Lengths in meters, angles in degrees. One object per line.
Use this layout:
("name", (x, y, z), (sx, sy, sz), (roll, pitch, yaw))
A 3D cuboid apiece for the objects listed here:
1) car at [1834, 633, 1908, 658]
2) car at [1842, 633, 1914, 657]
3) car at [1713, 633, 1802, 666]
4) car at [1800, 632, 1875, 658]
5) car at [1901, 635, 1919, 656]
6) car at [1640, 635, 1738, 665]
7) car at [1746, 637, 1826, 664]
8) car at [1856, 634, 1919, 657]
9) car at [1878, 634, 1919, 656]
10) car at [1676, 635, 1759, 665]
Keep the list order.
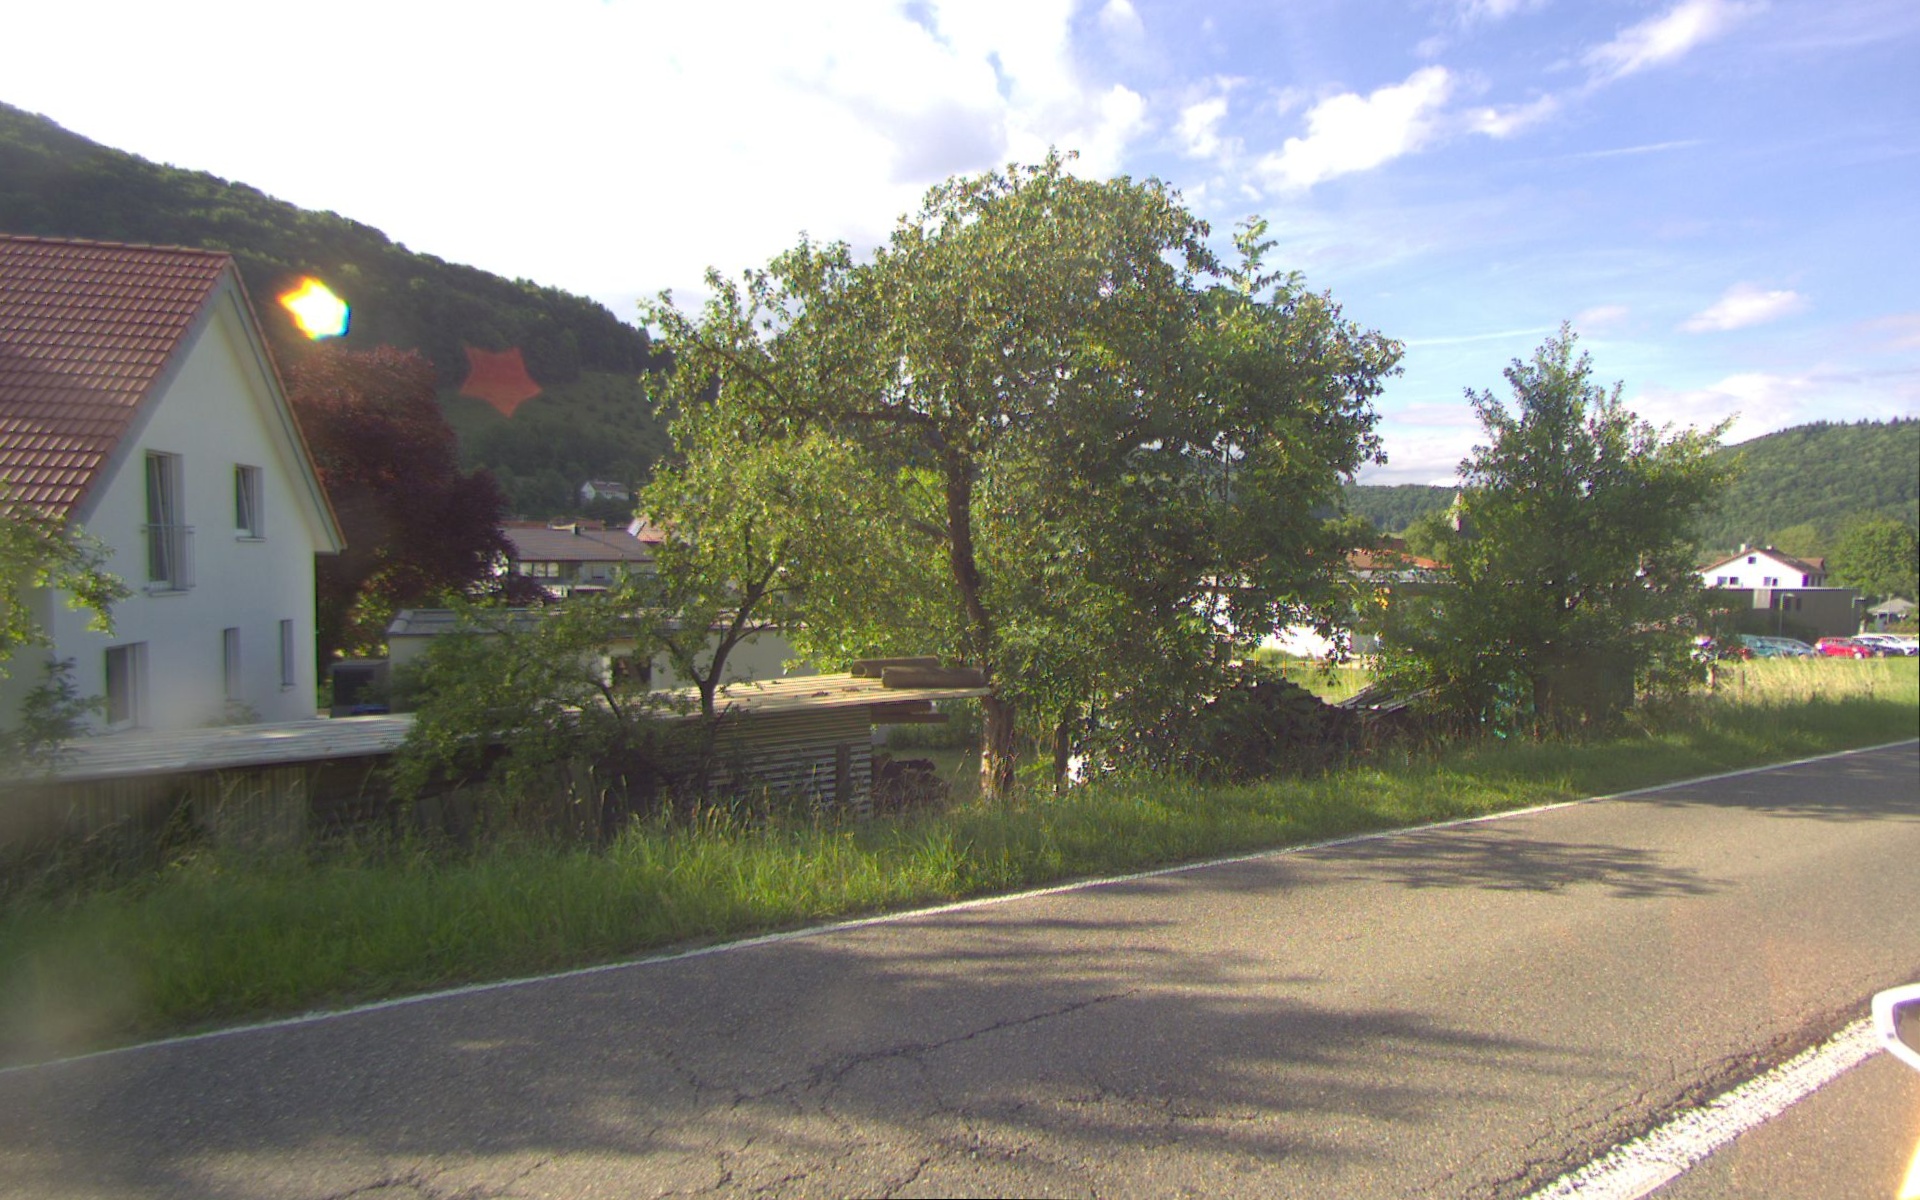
("car", (71.072, 3.541, 78.380), (1.981, 1.733, 3.960), (2, 0, -35))
("car", (73.803, 3.634, 80.823), (1.981, 1.733, 3.960), (2, 0, -35))
("car", (54.534, 3.378, 68.725), (1.980, 2.034, 4.376), (2, 0, -35))
("car", (66.852, 3.415, 76.582), (1.981, 1.733, 3.960), (2, 0, -35))
("car", (83.850, 3.946, 86.357), (1.981, 1.733, 3.960), (2, 0, -35))
("car", (46.810, 3.185, 64.566), (1.980, 1.733, 4.699), (2, -1, -35))
("car", (58.048, 3.533, 70.631), (1.981, 1.733, 3.960), (2, 0, -35))
("car", (76.540, 3.721, 82.572), (1.981, 1.733, 3.960), (2, 0, -35))
("car", (81.299, 3.874, 85.754), (1.981, 1.733, 3.960), (2, 0, -35))
("car", (49.576, 3.269, 65.804), (1.981, 1.733, 3.960), (2, 0, -35))
